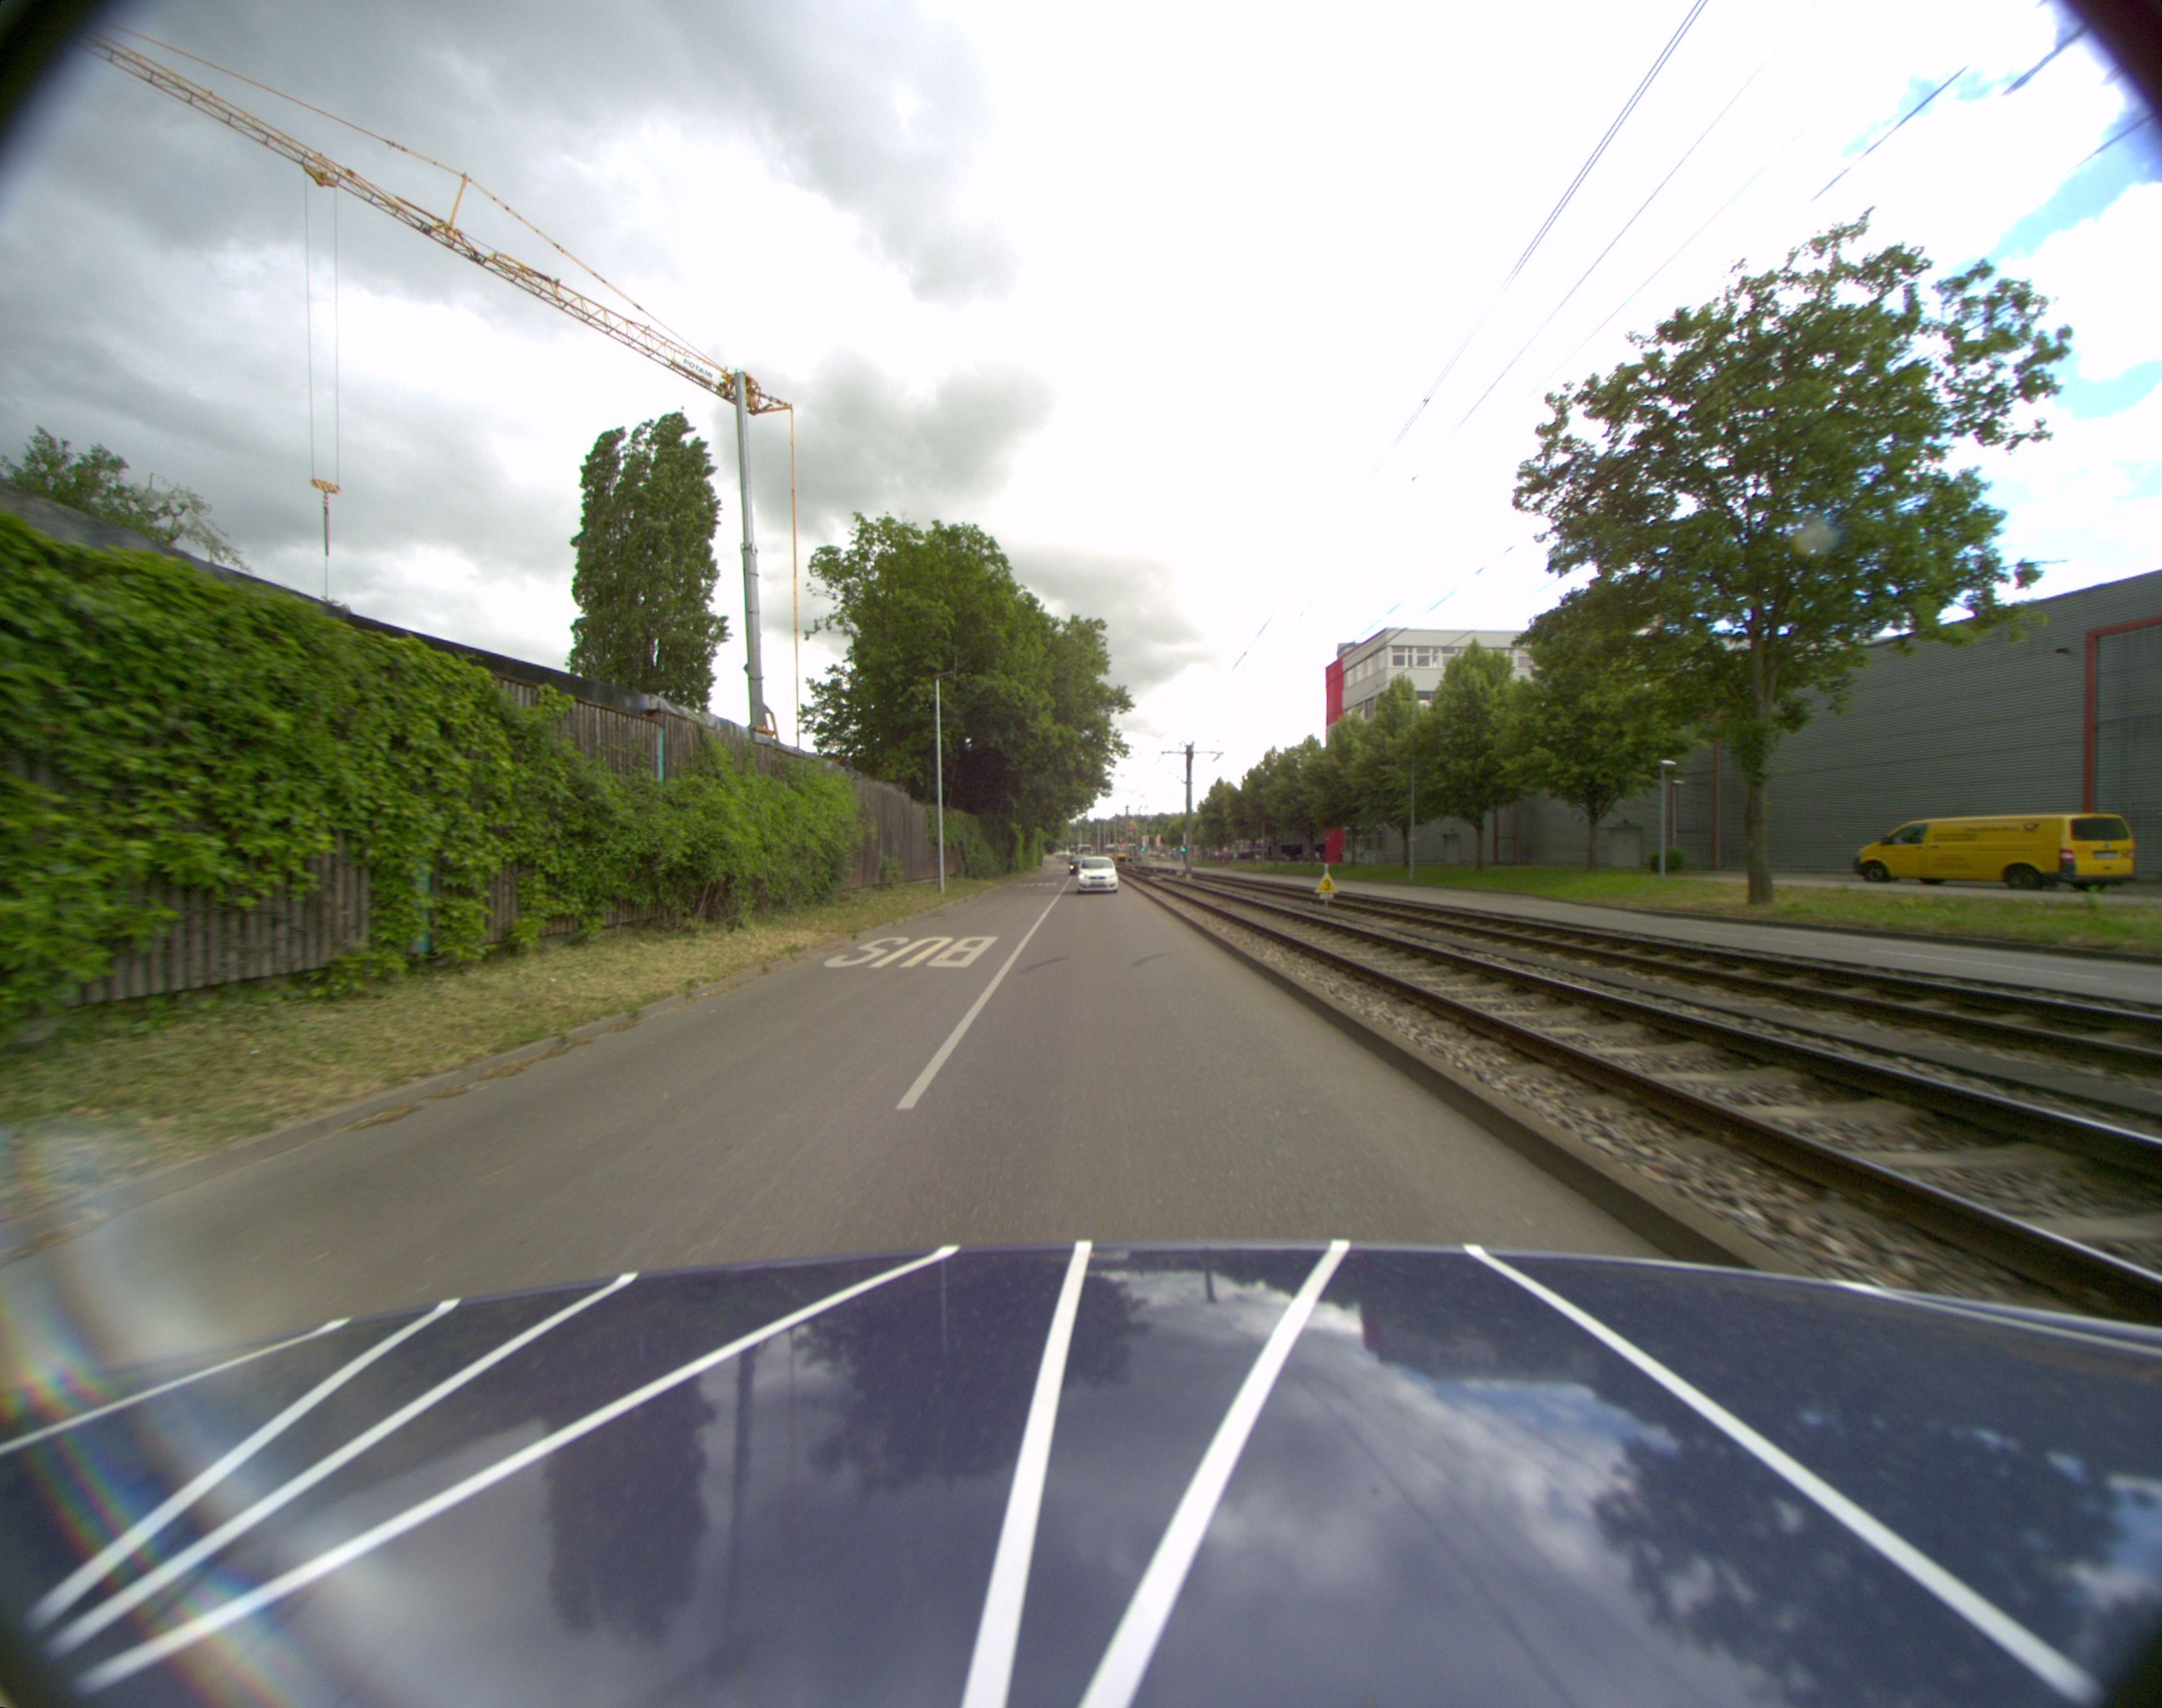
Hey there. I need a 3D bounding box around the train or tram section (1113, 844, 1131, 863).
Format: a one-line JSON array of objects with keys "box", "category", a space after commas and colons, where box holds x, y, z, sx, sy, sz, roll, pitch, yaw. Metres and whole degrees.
[{"box": [8.552, -0.138, 159.559, 2.778, 3.753, 13.785, -1, 0, -1], "category": "train or tram section"}]

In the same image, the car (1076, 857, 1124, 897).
[{"box": [0.714, 0.872, 30.670, 1.765, 1.469, 4.030, -2, 0, 0], "category": "car"}]

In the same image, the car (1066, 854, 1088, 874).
[{"box": [-0.264, 0.778, 62.264, 1.714, 1.586, 4.000, -1, 0, 1], "category": "car"}]

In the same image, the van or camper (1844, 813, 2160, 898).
[{"box": [24.466, 0.033, 20.617, 2.109, 2.002, 5.241, -1, 0, -3], "category": "van or camper"}]
